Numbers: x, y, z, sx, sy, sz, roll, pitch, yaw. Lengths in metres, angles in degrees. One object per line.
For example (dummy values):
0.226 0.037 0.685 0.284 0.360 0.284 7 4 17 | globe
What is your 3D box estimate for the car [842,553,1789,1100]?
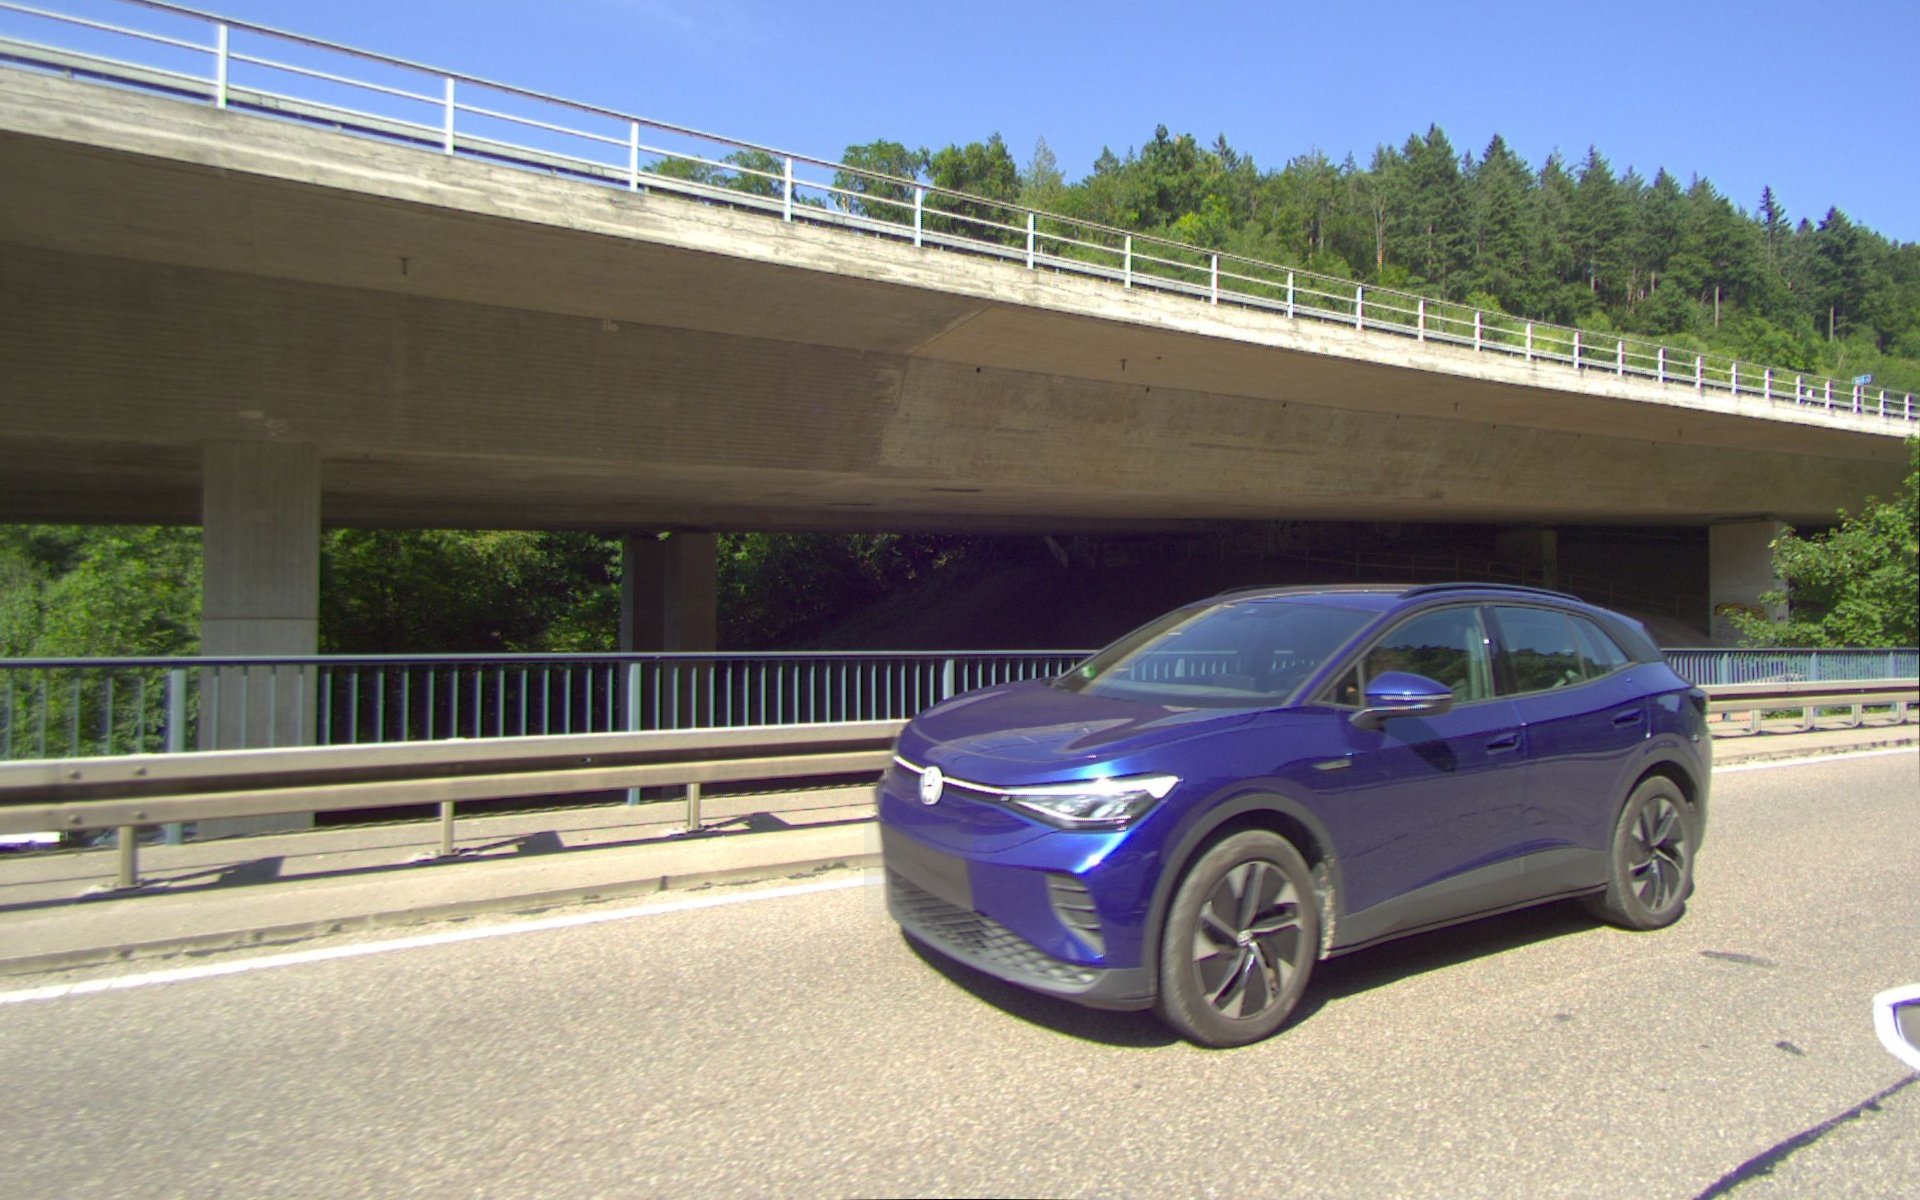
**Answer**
1.878 0.704 4.897 4.501 1.602 1.889 1 0 -30 | car
